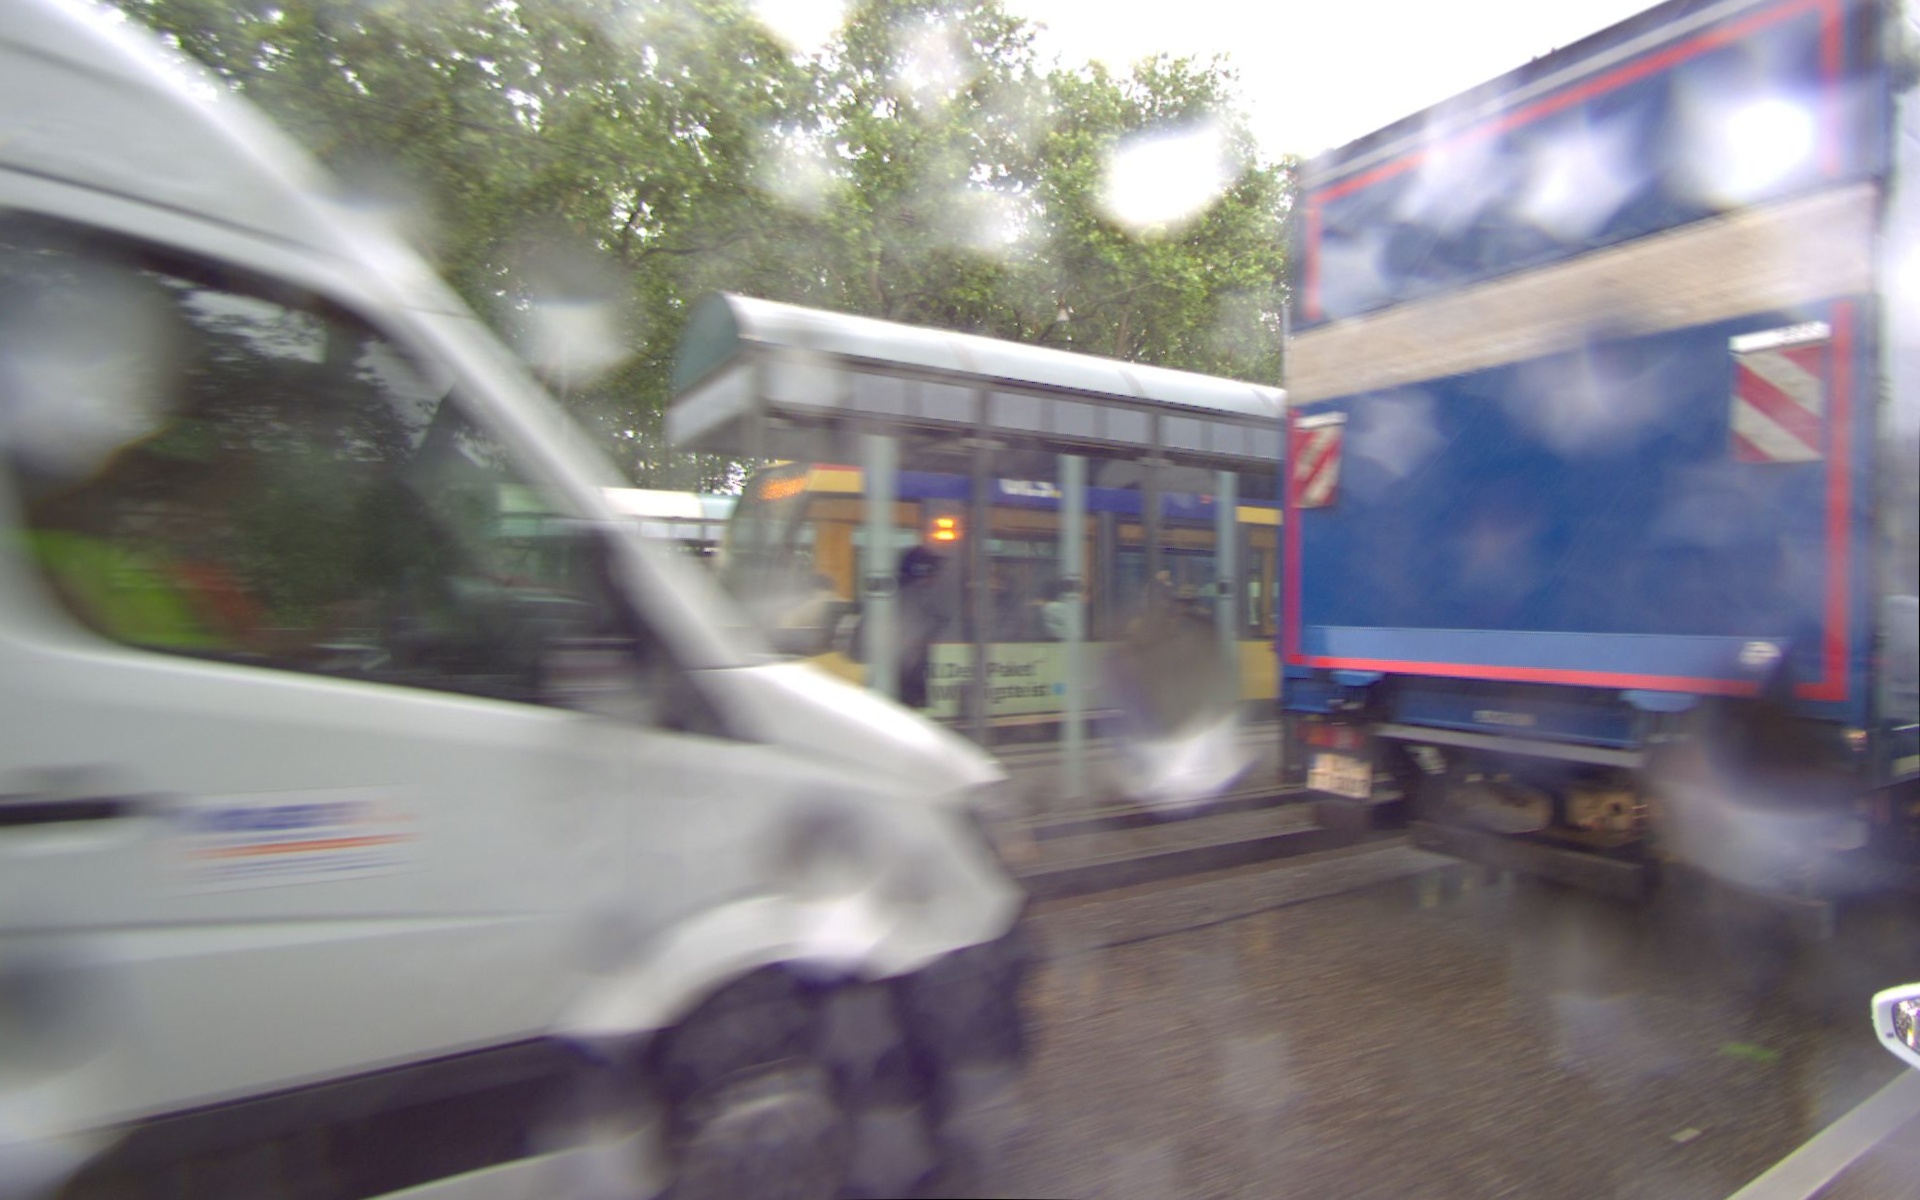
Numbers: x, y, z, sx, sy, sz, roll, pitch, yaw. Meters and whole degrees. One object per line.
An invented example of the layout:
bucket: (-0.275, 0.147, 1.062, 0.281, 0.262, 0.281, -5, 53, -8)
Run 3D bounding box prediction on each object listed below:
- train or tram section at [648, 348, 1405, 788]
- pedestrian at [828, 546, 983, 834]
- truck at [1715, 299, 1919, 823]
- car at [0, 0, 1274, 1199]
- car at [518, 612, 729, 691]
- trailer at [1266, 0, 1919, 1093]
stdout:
train or tram section: (1.117, -0.195, 11.128, 8.270, 3.329, 2.944, 0, -2, -33)
pedestrian: (-0.327, 0.505, 5.983, 0.766, 1.588, 0.534, 0, -1, -34)
truck: (8.881, -0.273, 8.680, 3.957, 3.956, 2.566, 1, 0, -33)
car: (-2.376, 0.208, 1.966, 6.047, 2.591, 2.317, 2, -1, -32)
car: (-7.170, 1.053, 21.470, 3.955, 1.537, 1.924, 1, -2, -32)
trailer: (5.516, -0.330, 6.430, 7.555, 3.952, 2.575, 1, 0, -34)
